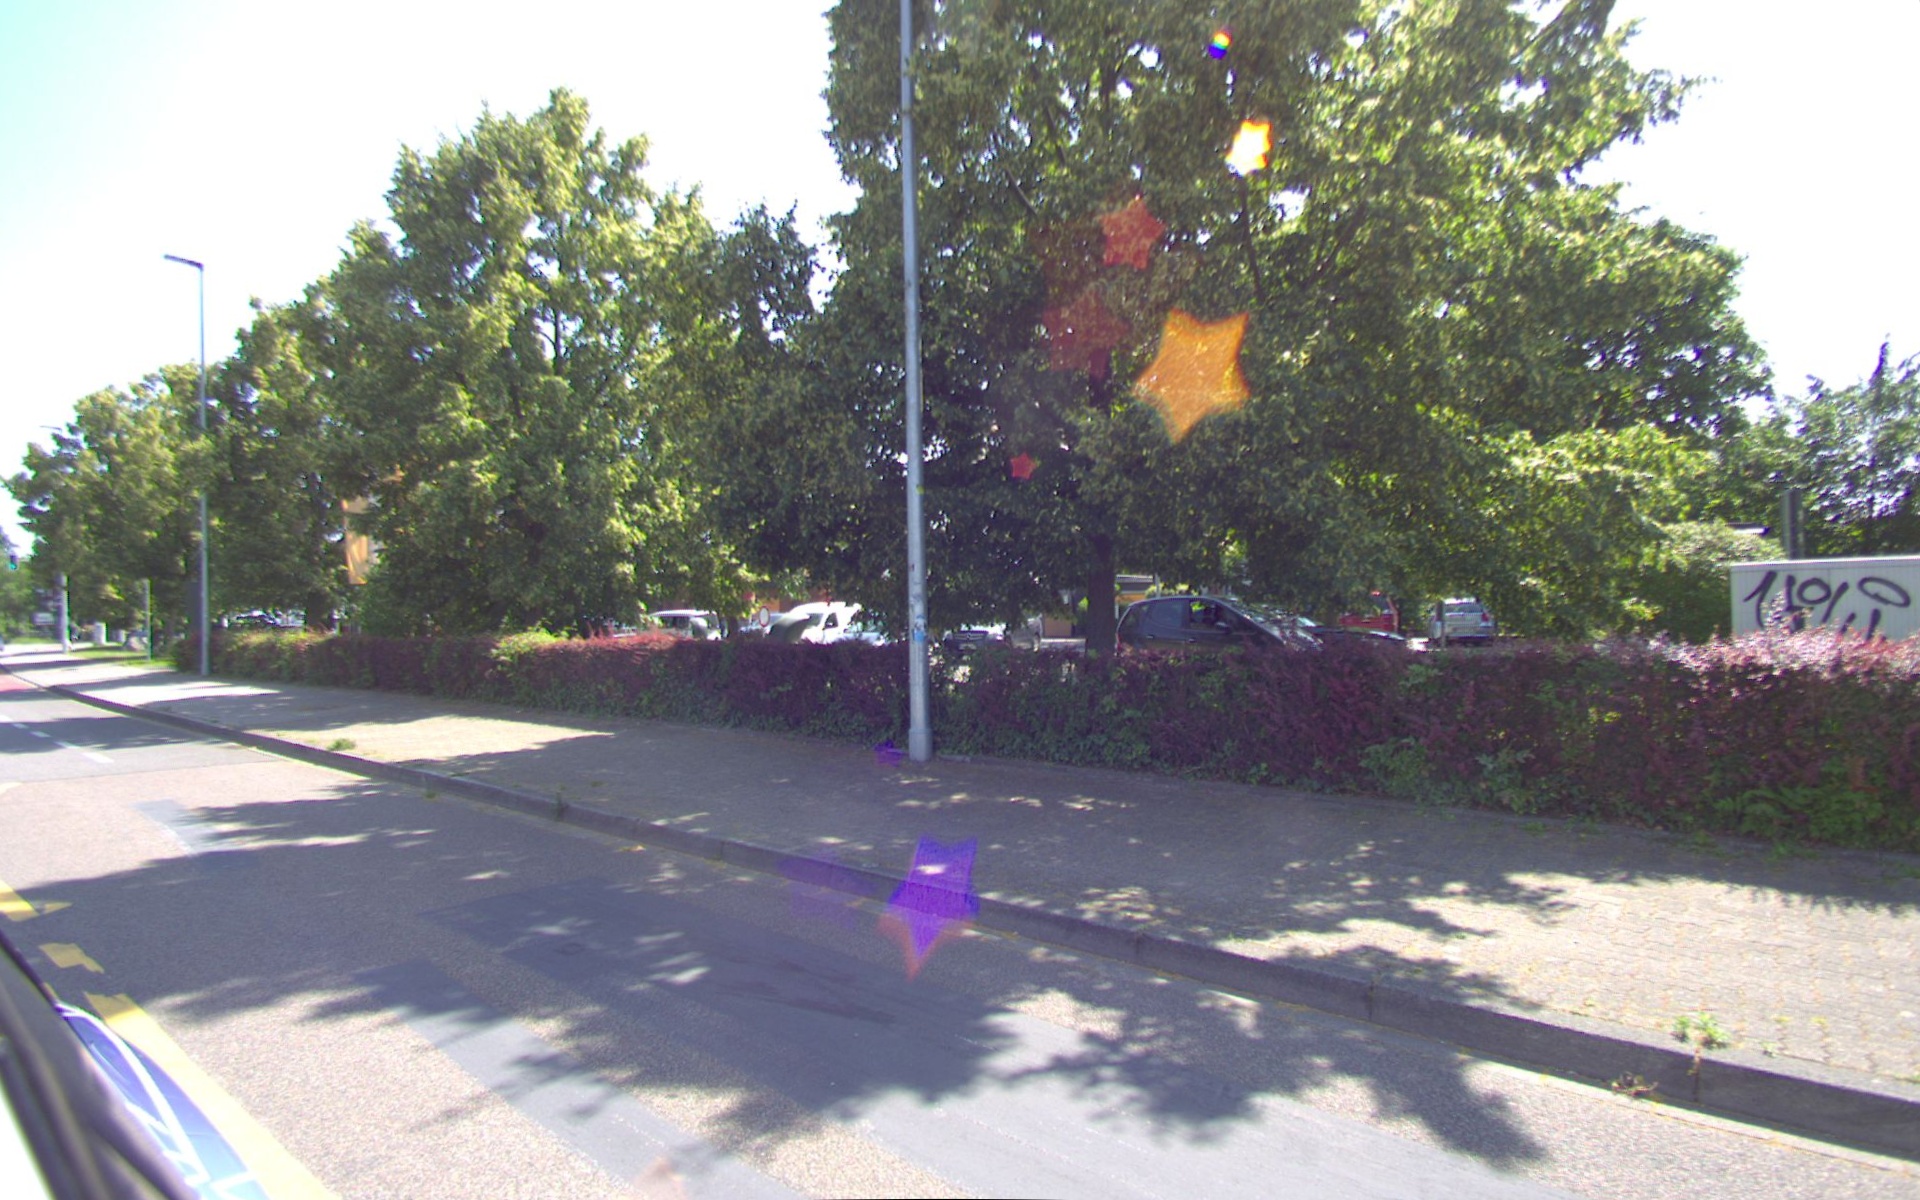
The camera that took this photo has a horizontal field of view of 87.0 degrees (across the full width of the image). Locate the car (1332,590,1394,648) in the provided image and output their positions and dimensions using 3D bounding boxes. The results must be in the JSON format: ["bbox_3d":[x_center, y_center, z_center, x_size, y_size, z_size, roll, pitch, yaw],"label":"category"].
[{"bbox_3d":[13.906,0.611,34.865,1.763,1.747,3.970,-4,-1,23],"label":"car"}]

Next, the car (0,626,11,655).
[{"bbox_3d":[-56.719,2.342,58.783,4.527,1.657,1.972,-2,-2,43],"label":"car"}]

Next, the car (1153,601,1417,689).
[{"bbox_3d":[6.014,0.833,18.974,4.361,1.464,1.838,-2,-3,38],"label":"car"}]

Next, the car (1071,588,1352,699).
[{"bbox_3d":[4.260,0.741,17.497,4.361,1.699,1.838,-2,-3,38],"label":"car"}]

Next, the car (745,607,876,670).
[{"bbox_3d":[-4.313,1.075,29.852,1.851,1.698,4.278,-1,-1,23],"label":"car"}]

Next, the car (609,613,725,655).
[{"bbox_3d":[-11.422,1.324,39.437,4.117,1.564,1.905,-1,-1,24],"label":"car"}]

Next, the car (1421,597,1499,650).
[{"bbox_3d":[15.609,0.689,31.747,1.762,1.487,3.972,-3,0,21],"label":"car"}]

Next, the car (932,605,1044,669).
[{"bbox_3d":[0.911,1.021,29.414,1.850,1.698,4.334,-1,-1,22],"label":"car"}]
